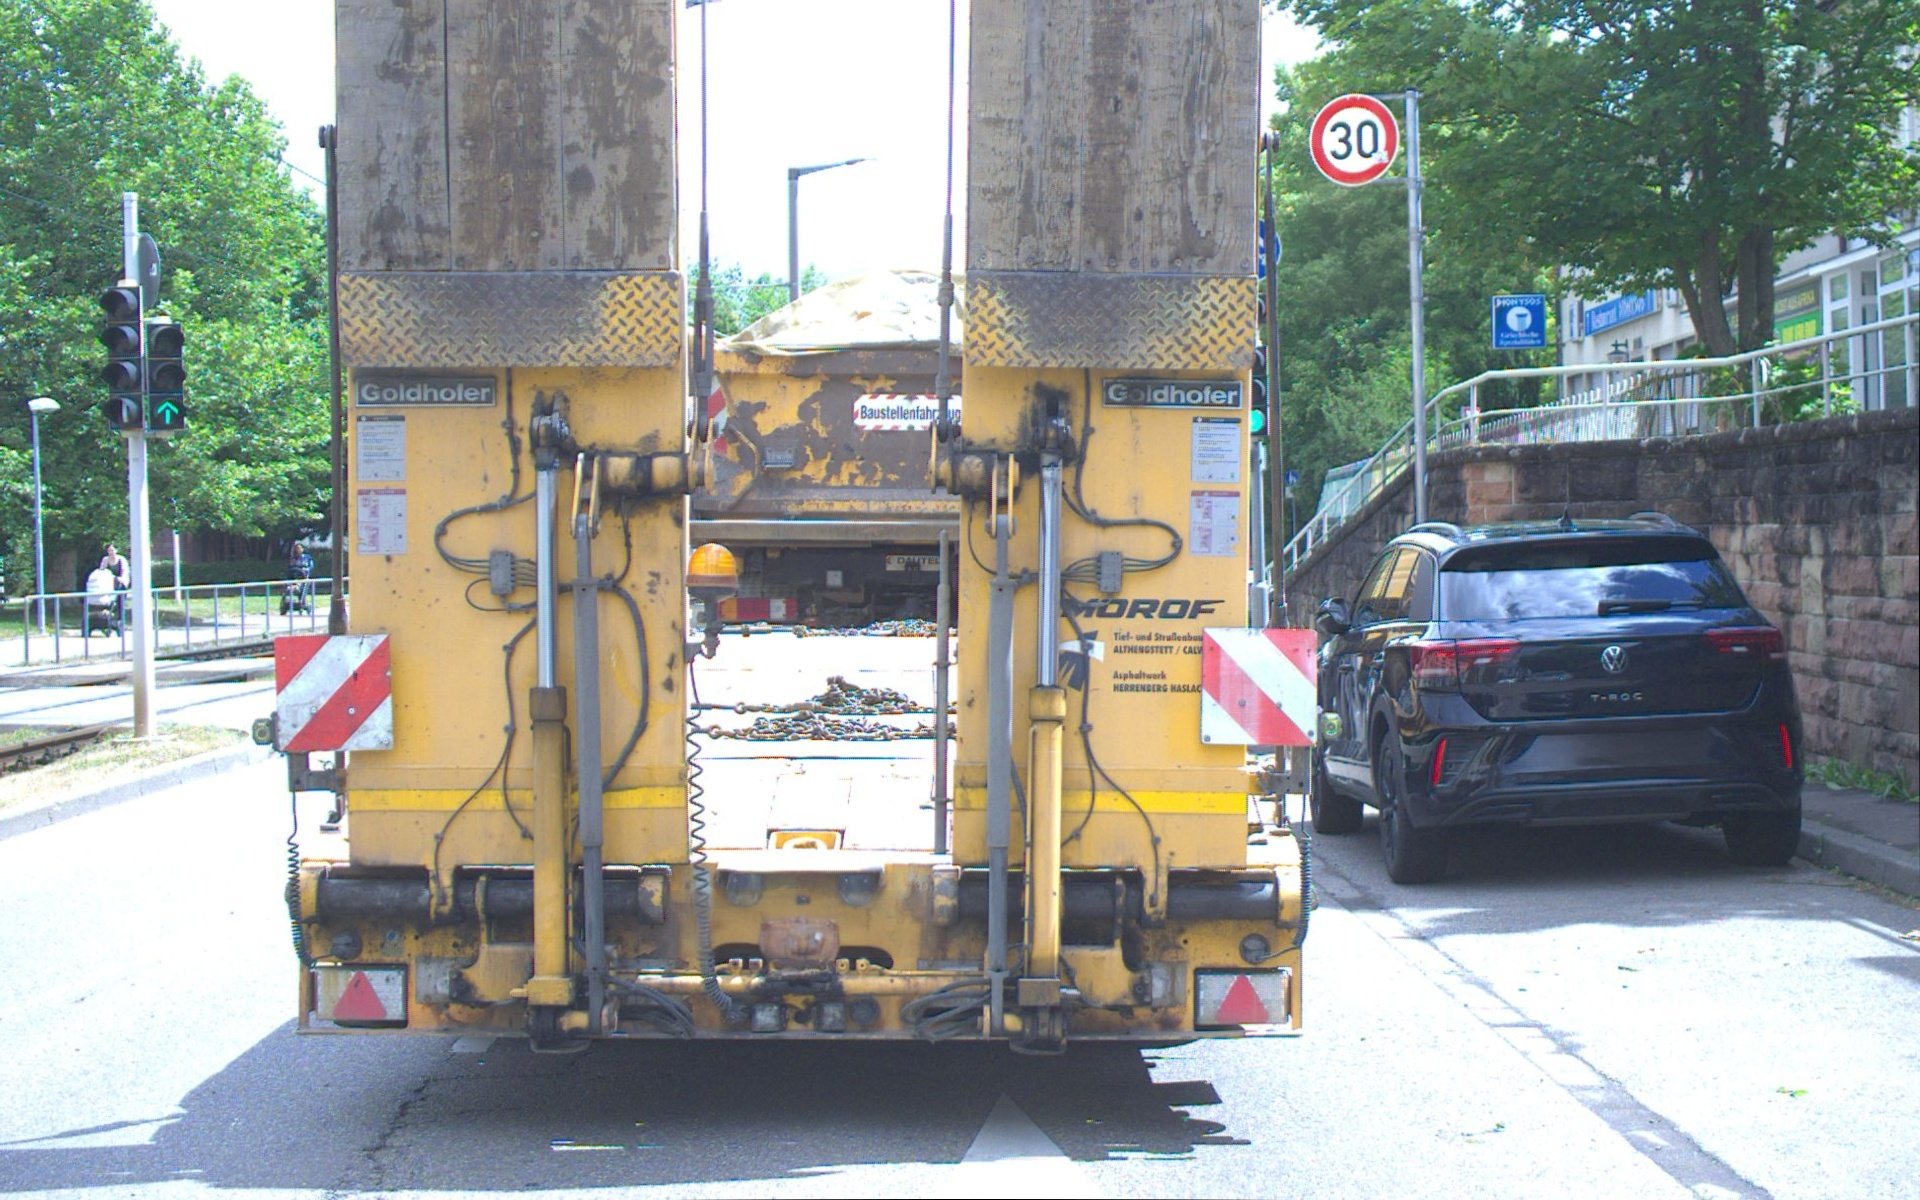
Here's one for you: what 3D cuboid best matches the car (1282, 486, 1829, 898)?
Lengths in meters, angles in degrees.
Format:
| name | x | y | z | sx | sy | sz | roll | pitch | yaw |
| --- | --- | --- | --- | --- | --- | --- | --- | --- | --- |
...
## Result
| name | x | y | z | sx | sy | sz | roll | pitch | yaw |
| --- | --- | --- | --- | --- | --- | --- | --- | --- | --- |
| car | 2.647 | 0.343 | 16.208 | 1.851 | 1.633 | 4.000 | -2 | 1 | 0 |

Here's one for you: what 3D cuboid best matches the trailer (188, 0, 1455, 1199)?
| name | x | y | z | sx | sy | sz | roll | pitch | yaw |
| --- | --- | --- | --- | --- | --- | --- | --- | --- | --- |
| trailer | -0.307 | -0.469 | 12.463 | 2.945 | 3.589 | 8.684 | -1 | 1 | 0 |

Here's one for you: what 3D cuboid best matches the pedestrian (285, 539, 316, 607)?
| name | x | y | z | sx | sy | sz | roll | pitch | yaw |
| --- | --- | --- | --- | --- | --- | --- | --- | --- | --- |
| pedestrian | -14.773 | -0.603 | 77.019 | 0.563 | 1.508 | 0.646 | 1 | 1 | -1 |

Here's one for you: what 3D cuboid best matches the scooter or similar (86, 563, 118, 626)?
| name | x | y | z | sx | sy | sz | roll | pitch | yaw |
| --- | --- | --- | --- | --- | --- | --- | --- | --- | --- |
| scooter or similar | -14.828 | -0.097 | 59.401 | 0.338 | 1.054 | 0.687 | -1 | 1 | 3 |

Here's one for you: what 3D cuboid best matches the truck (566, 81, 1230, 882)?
| name | x | y | z | sx | sy | sz | roll | pitch | yaw |
| --- | --- | --- | --- | --- | --- | --- | --- | --- | --- |
| truck | -0.267 | -0.577 | 17.857 | 2.942 | 3.560 | 4.877 | -1 | 1 | 0 |

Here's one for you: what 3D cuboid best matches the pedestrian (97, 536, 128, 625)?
| name | x | y | z | sx | sy | sz | roll | pitch | yaw |
| --- | --- | --- | --- | --- | --- | --- | --- | --- | --- |
| pedestrian | -14.801 | -0.344 | 60.029 | 0.348 | 1.531 | 0.557 | -1 | 1 | 3 |

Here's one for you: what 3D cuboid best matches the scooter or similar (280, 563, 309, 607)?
| name | x | y | z | sx | sy | sz | roll | pitch | yaw |
| --- | --- | --- | --- | --- | --- | --- | --- | --- | --- |
| scooter or similar | -14.786 | -0.329 | 76.371 | 0.505 | 0.968 | 0.646 | 1 | 1 | -1 |
